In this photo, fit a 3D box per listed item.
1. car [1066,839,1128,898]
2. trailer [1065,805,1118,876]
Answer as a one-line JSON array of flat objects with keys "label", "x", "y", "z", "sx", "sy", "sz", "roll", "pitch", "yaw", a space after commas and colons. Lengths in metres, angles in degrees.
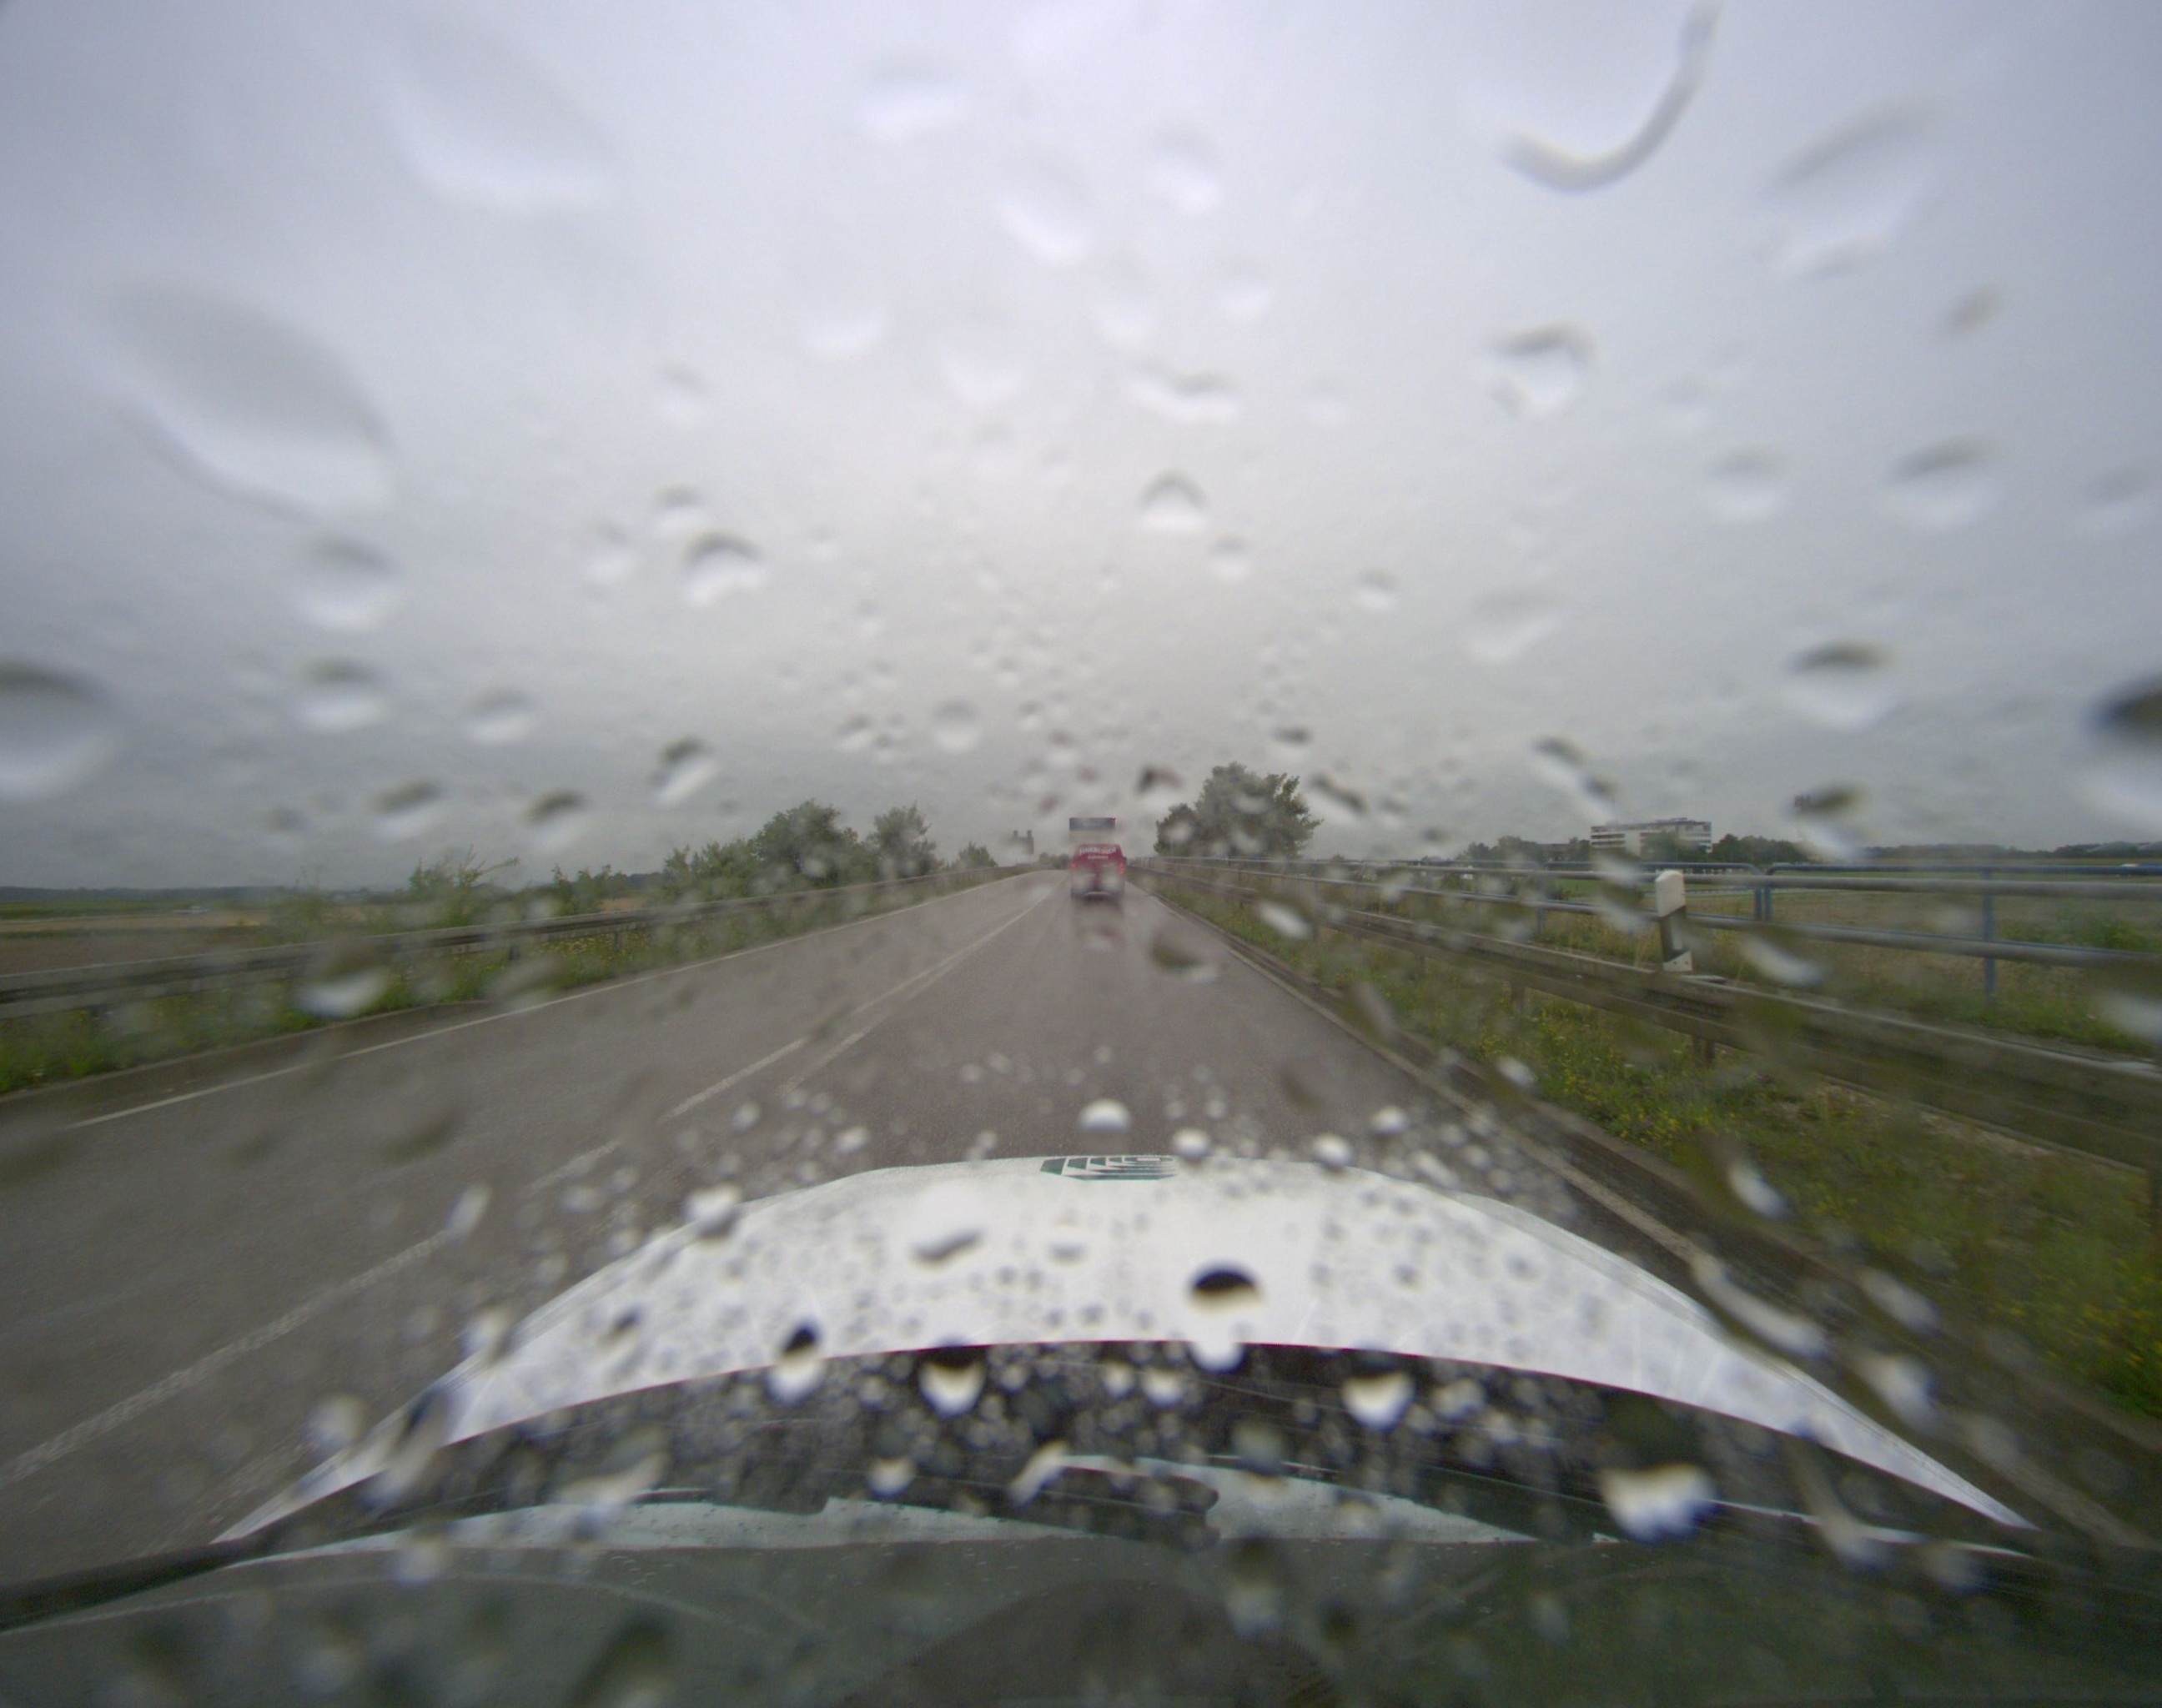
[{"label": "car", "x": 0.613, "y": 0.493, "z": 29.361, "sx": 1.986, "sy": 1.870, "sz": 4.980, "roll": -2, "pitch": -1, "yaw": 2}, {"label": "trailer", "x": 0.765, "y": -0.680, "z": 49.625, "sx": 2.821, "sy": 3.819, "sz": 9.718, "roll": -1, "pitch": -1, "yaw": 2}]
